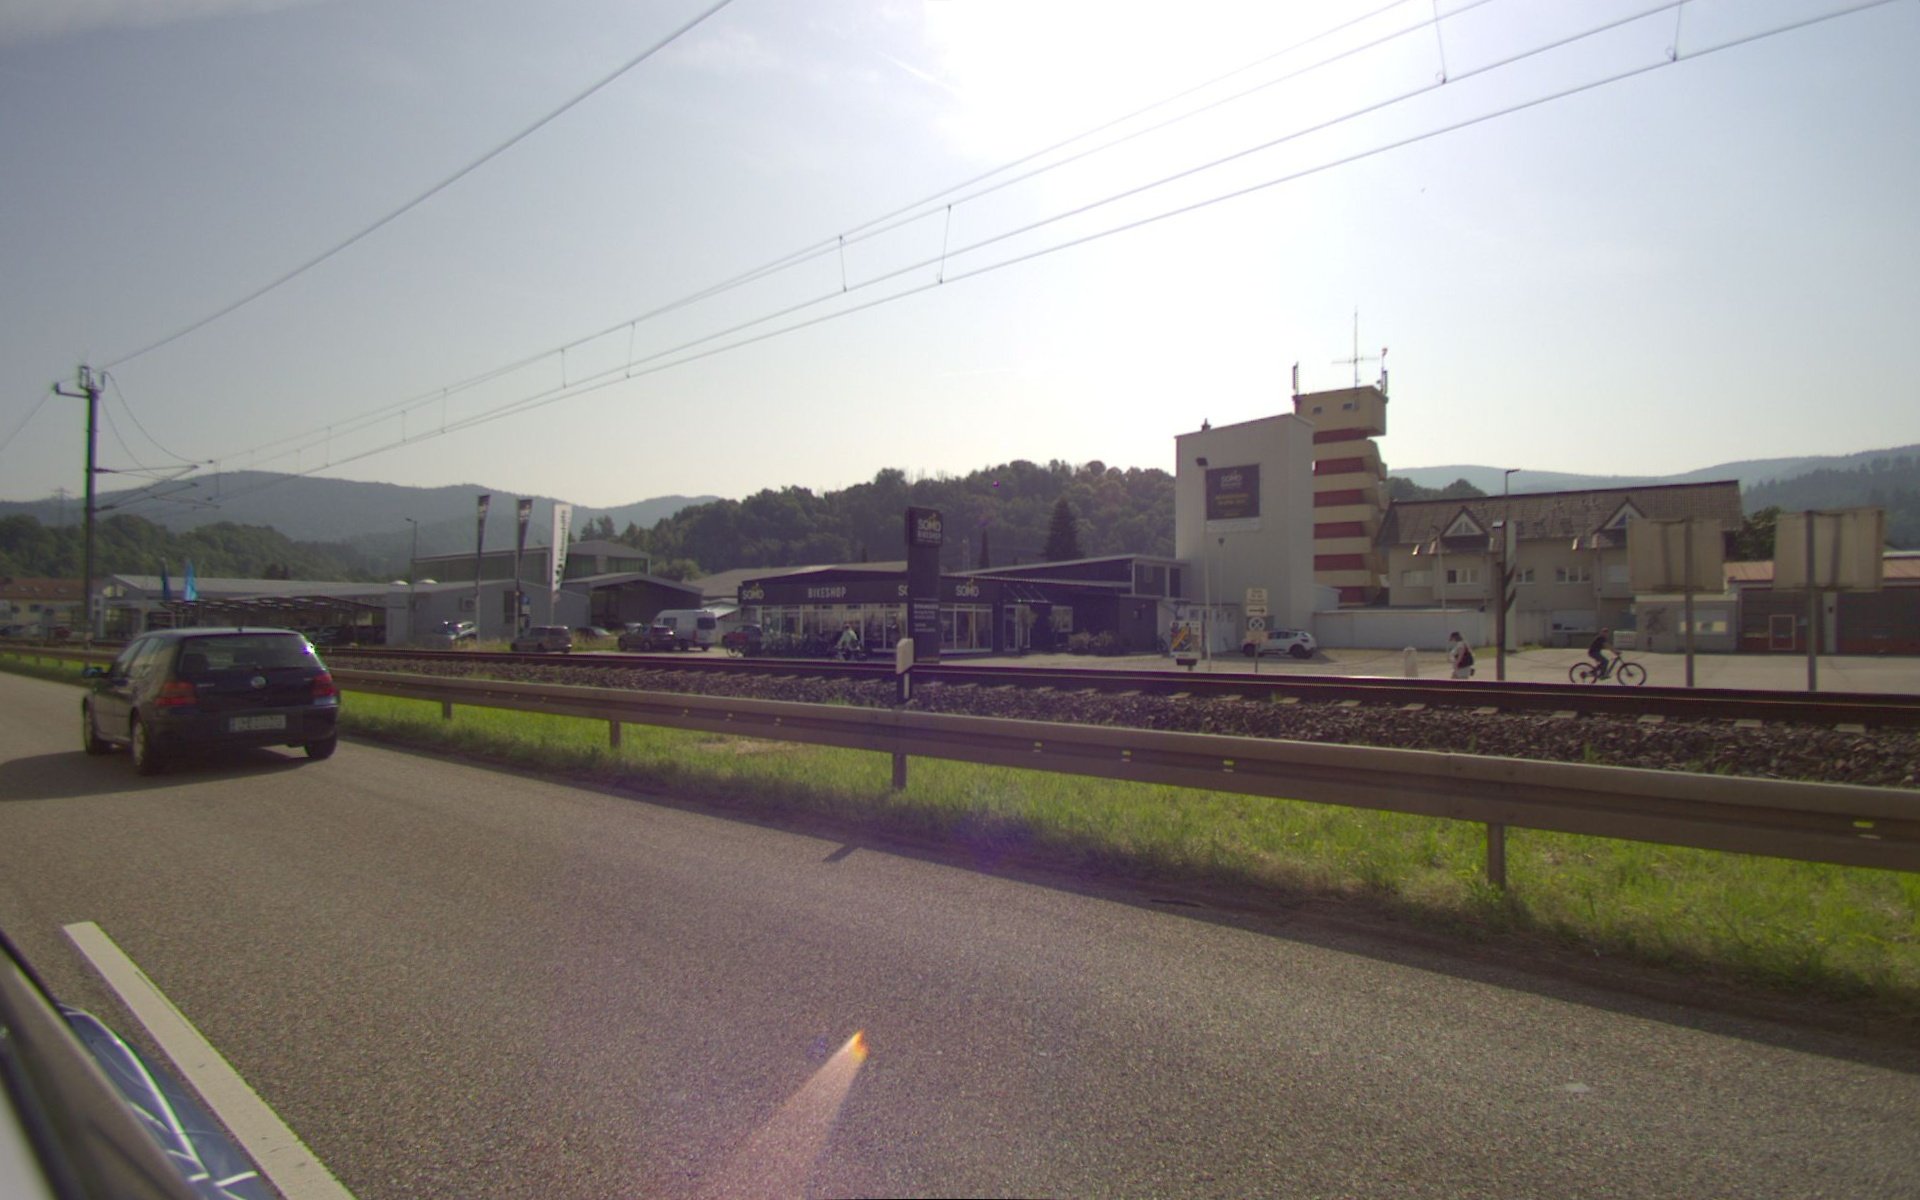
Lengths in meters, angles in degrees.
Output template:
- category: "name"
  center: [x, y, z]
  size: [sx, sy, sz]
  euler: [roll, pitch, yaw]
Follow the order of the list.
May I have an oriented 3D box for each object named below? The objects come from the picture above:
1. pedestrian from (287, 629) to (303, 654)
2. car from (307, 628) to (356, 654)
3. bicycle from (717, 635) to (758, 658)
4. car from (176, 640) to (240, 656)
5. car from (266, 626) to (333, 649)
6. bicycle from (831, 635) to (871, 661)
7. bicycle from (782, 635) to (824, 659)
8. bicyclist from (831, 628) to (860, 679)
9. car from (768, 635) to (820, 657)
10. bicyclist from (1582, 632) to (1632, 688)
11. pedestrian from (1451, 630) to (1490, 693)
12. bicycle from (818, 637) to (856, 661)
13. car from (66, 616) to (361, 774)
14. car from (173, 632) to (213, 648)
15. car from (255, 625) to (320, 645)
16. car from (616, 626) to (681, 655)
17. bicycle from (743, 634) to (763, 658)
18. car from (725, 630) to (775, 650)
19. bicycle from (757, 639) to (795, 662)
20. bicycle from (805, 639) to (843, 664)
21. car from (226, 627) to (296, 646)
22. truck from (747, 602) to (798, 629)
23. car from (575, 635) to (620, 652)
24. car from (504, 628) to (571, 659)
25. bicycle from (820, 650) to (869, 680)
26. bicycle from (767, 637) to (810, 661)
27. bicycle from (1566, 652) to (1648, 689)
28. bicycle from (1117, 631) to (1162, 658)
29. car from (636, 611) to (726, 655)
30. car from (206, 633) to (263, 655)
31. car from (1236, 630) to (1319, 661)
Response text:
- category: "pedestrian"
  center: [-46.856, 2.897, 71.352]
  size: [0.822, 1.748, 0.806]
  euler: [2, -3, -39]
- category: "car"
  center: [-45.721, 2.966, 73.684]
  size: [1.636, 1.634, 4.040]
  euler: [-2, 1, -10]
- category: "bicycle"
  center: [-11.722, 2.435, 53.282]
  size: [0.729, 1.139, 2.146]
  euler: [-1, -2, 38]
- category: "car"
  center: [-65.360, 4.187, 88.007]
  size: [4.145, 1.352, 1.849]
  euler: [0, -2, -4]
- category: "car"
  center: [-49.918, 2.820, 76.569]
  size: [1.659, 1.539, 3.922]
  euler: [-1, 1, 35]
- category: "bicycle"
  center: [-5.053, 2.219, 47.042]
  size: [0.727, 1.139, 2.153]
  euler: [-1, -2, 28]
- category: "bicycle"
  center: [-7.742, 2.303, 50.084]
  size: [0.729, 1.139, 2.146]
  euler: [-1, -2, 38]
- category: "bicyclist"
  center: [-3.782, 1.753, 33.493]
  size: [0.830, 1.659, 0.527]
  euler: [-2, -3, 37]
- category: "car"
  center: [-12.287, 3.416, 74.859]
  size: [4.066, 1.553, 1.562]
  euler: [-1, -2, 39]
- category: "bicyclist"
  center: [19.368, 1.785, 30.302]
  size: [1.146, 1.632, 0.737]
  euler: [-2, -3, 42]
- category: "pedestrian"
  center: [11.194, 1.335, 22.192]
  size: [0.672, 1.342, 0.568]
  euler: [-1, -2, 34]
- category: "bicycle"
  center: [-5.945, 2.367, 49.086]
  size: [0.727, 1.139, 2.153]
  euler: [-1, -2, 28]
- category: "car"
  center: [-8.276, 0.910, 11.089]
  size: [4.118, 1.414, 1.745]
  euler: [-2, -2, 41]
- category: "car"
  center: [-69.276, 3.577, 91.474]
  size: [1.815, 1.396, 4.538]
  euler: [0, -2, -23]
- category: "car"
  center: [-51.681, 2.660, 77.836]
  size: [1.499, 1.335, 3.922]
  euler: [-1, 1, 35]
- category: "car"
  center: [-19.507, 2.539, 63.382]
  size: [3.992, 1.676, 1.851]
  euler: [0, -1, 36]
- category: "bicycle"
  center: [-10.351, 2.270, 50.599]
  size: [0.717, 1.139, 2.329]
  euler: [1, -2, -17]
- category: "car"
  center: [-14.520, 2.759, 69.867]
  size: [3.517, 1.368, 1.499]
  euler: [-1, -2, 39]
- category: "bicycle"
  center: [-9.500, 2.585, 52.115]
  size: [2.173, 1.139, 0.720]
  euler: [-1, -2, 41]
- category: "bicycle"
  center: [-6.640, 2.505, 49.425]
  size: [0.727, 1.139, 2.153]
  euler: [-1, -2, 28]
- category: "car"
  center: [-55.930, 2.906, 81.028]
  size: [4.372, 1.517, 1.847]
  euler: [0, -2, 0]
- category: "truck"
  center: [-17.539, 1.465, 94.352]
  size: [4.632, 2.443, 1.976]
  euler: [0, -2, 35]
- category: "car"
  center: [-27.874, 3.316, 77.769]
  size: [3.474, 1.278, 1.442]
  euler: [-2, -2, 31]
- category: "car"
  center: [-24.273, 2.458, 58.112]
  size: [4.361, 1.701, 1.505]
  euler: [-1, 0, 36]
- category: "bicycle"
  center: [-3.832, 2.141, 33.526]
  size: [1.707, 0.930, 0.540]
  euler: [-2, -3, 37]
- category: "bicycle"
  center: [-8.246, 2.338, 48.562]
  size: [2.171, 1.139, 0.721]
  euler: [-1, -2, 37]
- category: "bicycle"
  center: [19.352, 2.088, 30.309]
  size: [1.962, 1.025, 0.747]
  euler: [-2, -3, 42]
- category: "bicycle"
  center: [9.498, 2.334, 53.447]
  size: [0.987, 1.298, 3.405]
  euler: [-1, -1, 34]
- category: "car"
  center: [-18.304, 2.123, 66.228]
  size: [6.149, 2.653, 2.351]
  euler: [1, -1, 37]
- category: "car"
  center: [-60.540, 3.618, 84.525]
  size: [1.820, 1.539, 4.275]
  euler: [-2, 1, -3]
- category: "car"
  center: [17.164, 2.436, 54.802]
  size: [3.979, 1.610, 1.693]
  euler: [-2, -3, 41]
